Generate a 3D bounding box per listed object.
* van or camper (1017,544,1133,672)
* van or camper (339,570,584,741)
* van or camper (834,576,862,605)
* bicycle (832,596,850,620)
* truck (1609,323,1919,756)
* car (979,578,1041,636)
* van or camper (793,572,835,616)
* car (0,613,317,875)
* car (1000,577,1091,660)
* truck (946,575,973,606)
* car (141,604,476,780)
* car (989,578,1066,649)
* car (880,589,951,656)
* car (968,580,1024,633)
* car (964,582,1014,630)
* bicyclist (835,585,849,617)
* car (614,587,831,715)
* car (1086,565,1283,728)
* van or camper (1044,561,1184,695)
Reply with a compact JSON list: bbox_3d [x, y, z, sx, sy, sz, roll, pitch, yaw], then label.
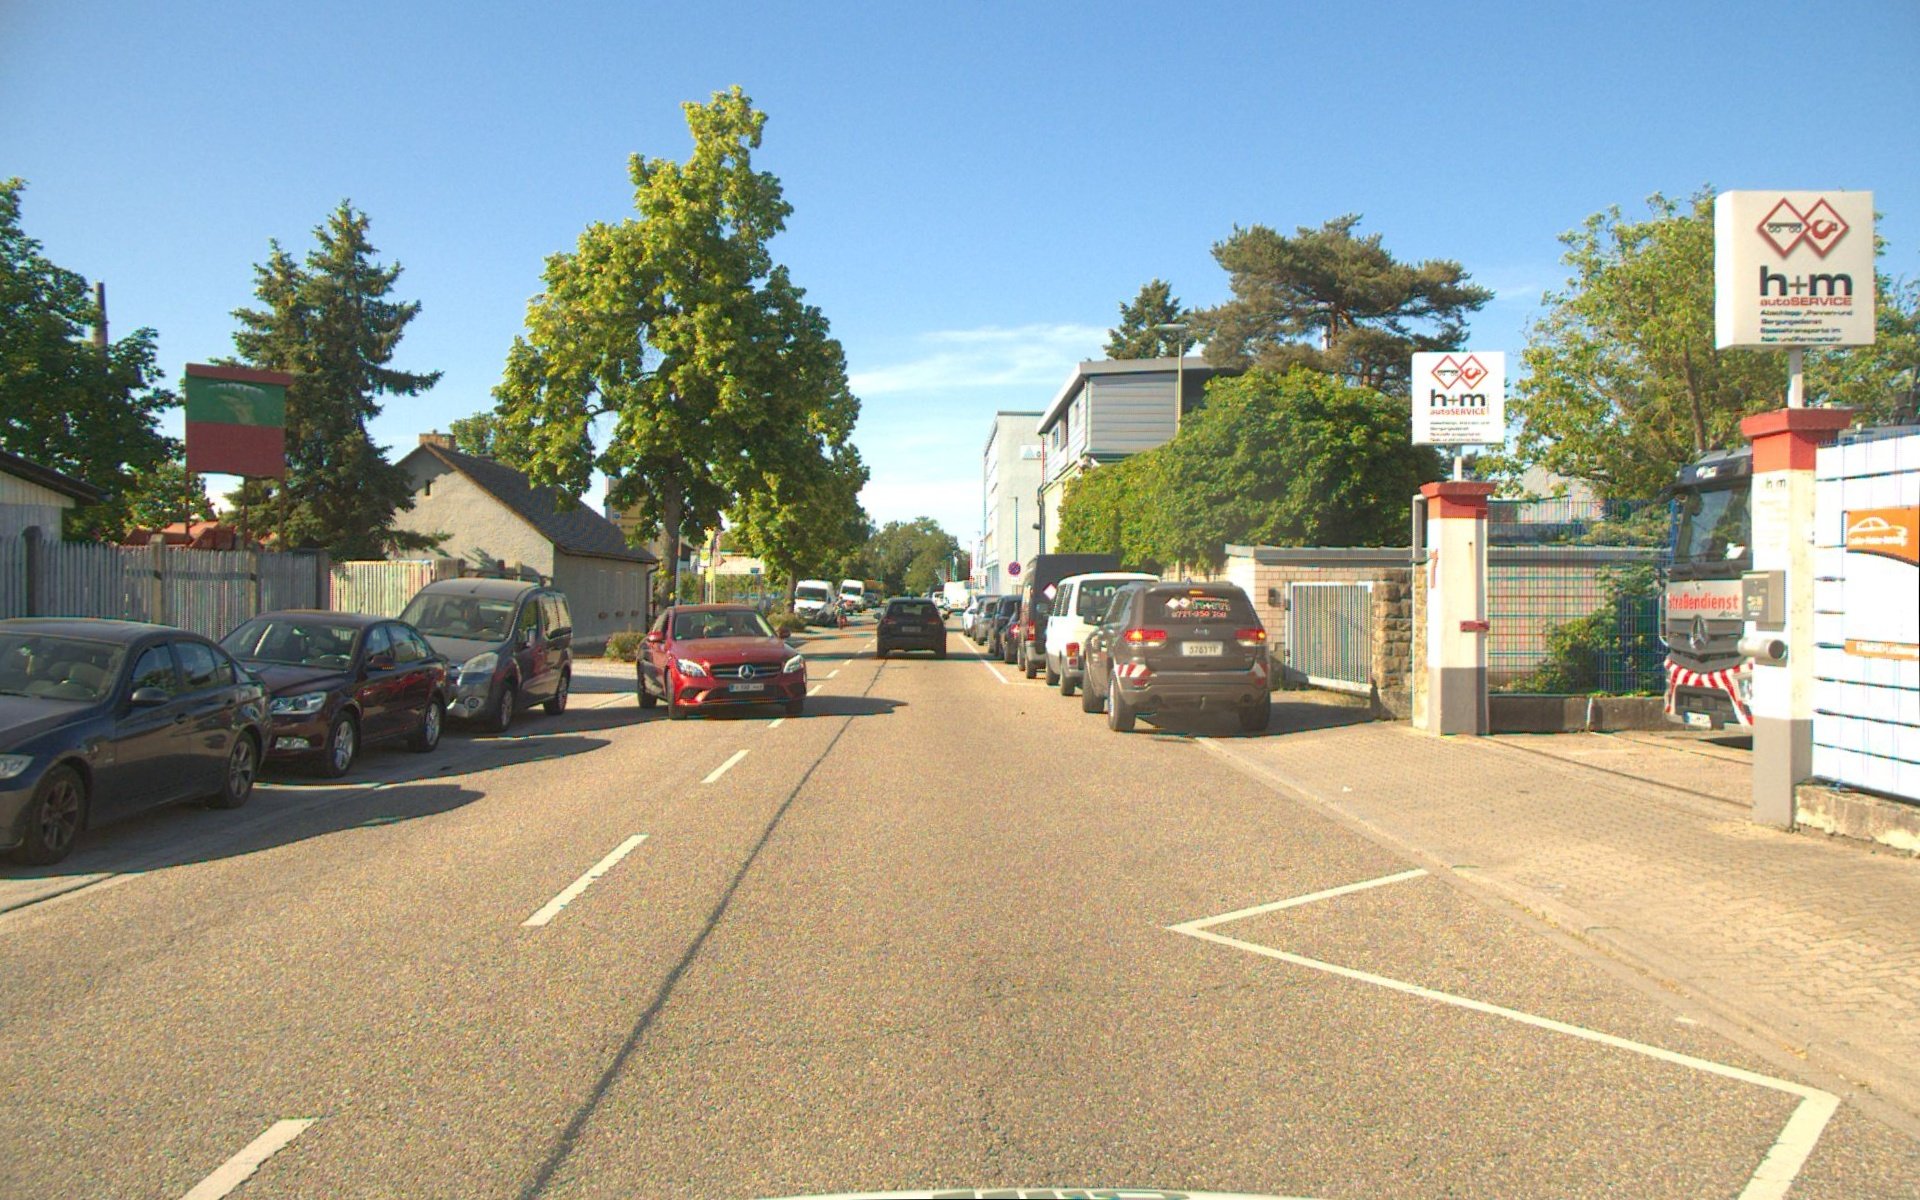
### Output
[{"bbox_3d":[2.188,0.129,32.581,1.953,2.351,3.999,0,0,-1],"label":"van or camper"},{"bbox_3d":[-6.286,0.649,21.385,1.852,1.959,4.266,-1,0,0],"label":"van or camper"},{"bbox_3d":[-9.746,-0.822,143.351,2.278,2.403,6.522,0,1,-5],"label":"van or camper"},{"bbox_3d":[-5.912,0.389,82.338,0.812,1.173,2.939,0,1,-2],"label":"bicycle"},{"bbox_3d":[10.563,-0.552,16.391,7.230,3.836,2.830,0,0,-5],"label":"truck"},{"bbox_3d":[1.619,0.209,54.883,1.880,1.857,4.079,0,0,-1],"label":"car"},{"bbox_3d":[-8.267,-0.380,93.800,2.278,2.403,6.522,0,1,-5],"label":"van or camper"},{"bbox_3d":[-6.338,0.856,11.837,1.721,1.428,4.557,0,1,0],"label":"car"},{"bbox_3d":[1.961,0.395,38.982,1.880,1.857,4.079,0,0,-1],"label":"car"},{"bbox_3d":[-0.093,-0.750,126.434,1.953,2.327,6.954,0,1,-1],"label":"truck"},{"bbox_3d":[-6.366,0.820,16.687,1.659,1.494,4.174,0,1,1],"label":"car"},{"bbox_3d":[1.796,0.331,44.978,1.880,1.857,4.079,0,0,-1],"label":"car"},{"bbox_3d":[-1.094,0.537,42.047,1.676,1.559,3.687,-1,1,0],"label":"car"},{"bbox_3d":[1.273,0.219,59.816,1.880,1.857,4.079,0,0,-1],"label":"car"},{"bbox_3d":[1.115,0.223,66.292,1.880,1.857,4.079,0,0,-1],"label":"car"},{"bbox_3d":[-5.884,0.037,82.604,0.681,1.566,0.635,0,0,-3],"label":"bicyclist"},{"bbox_3d":[-3.337,0.618,22.618,1.852,1.511,4.013,-2,1,-25],"label":"car"},{"bbox_3d":[2.716,0.506,20.912,1.880,1.857,4.079,0,0,-1],"label":"car"},{"bbox_3d":[2.464,0.412,27.384,1.880,2.055,4.079,0,0,-1],"label":"van or camper"}]
